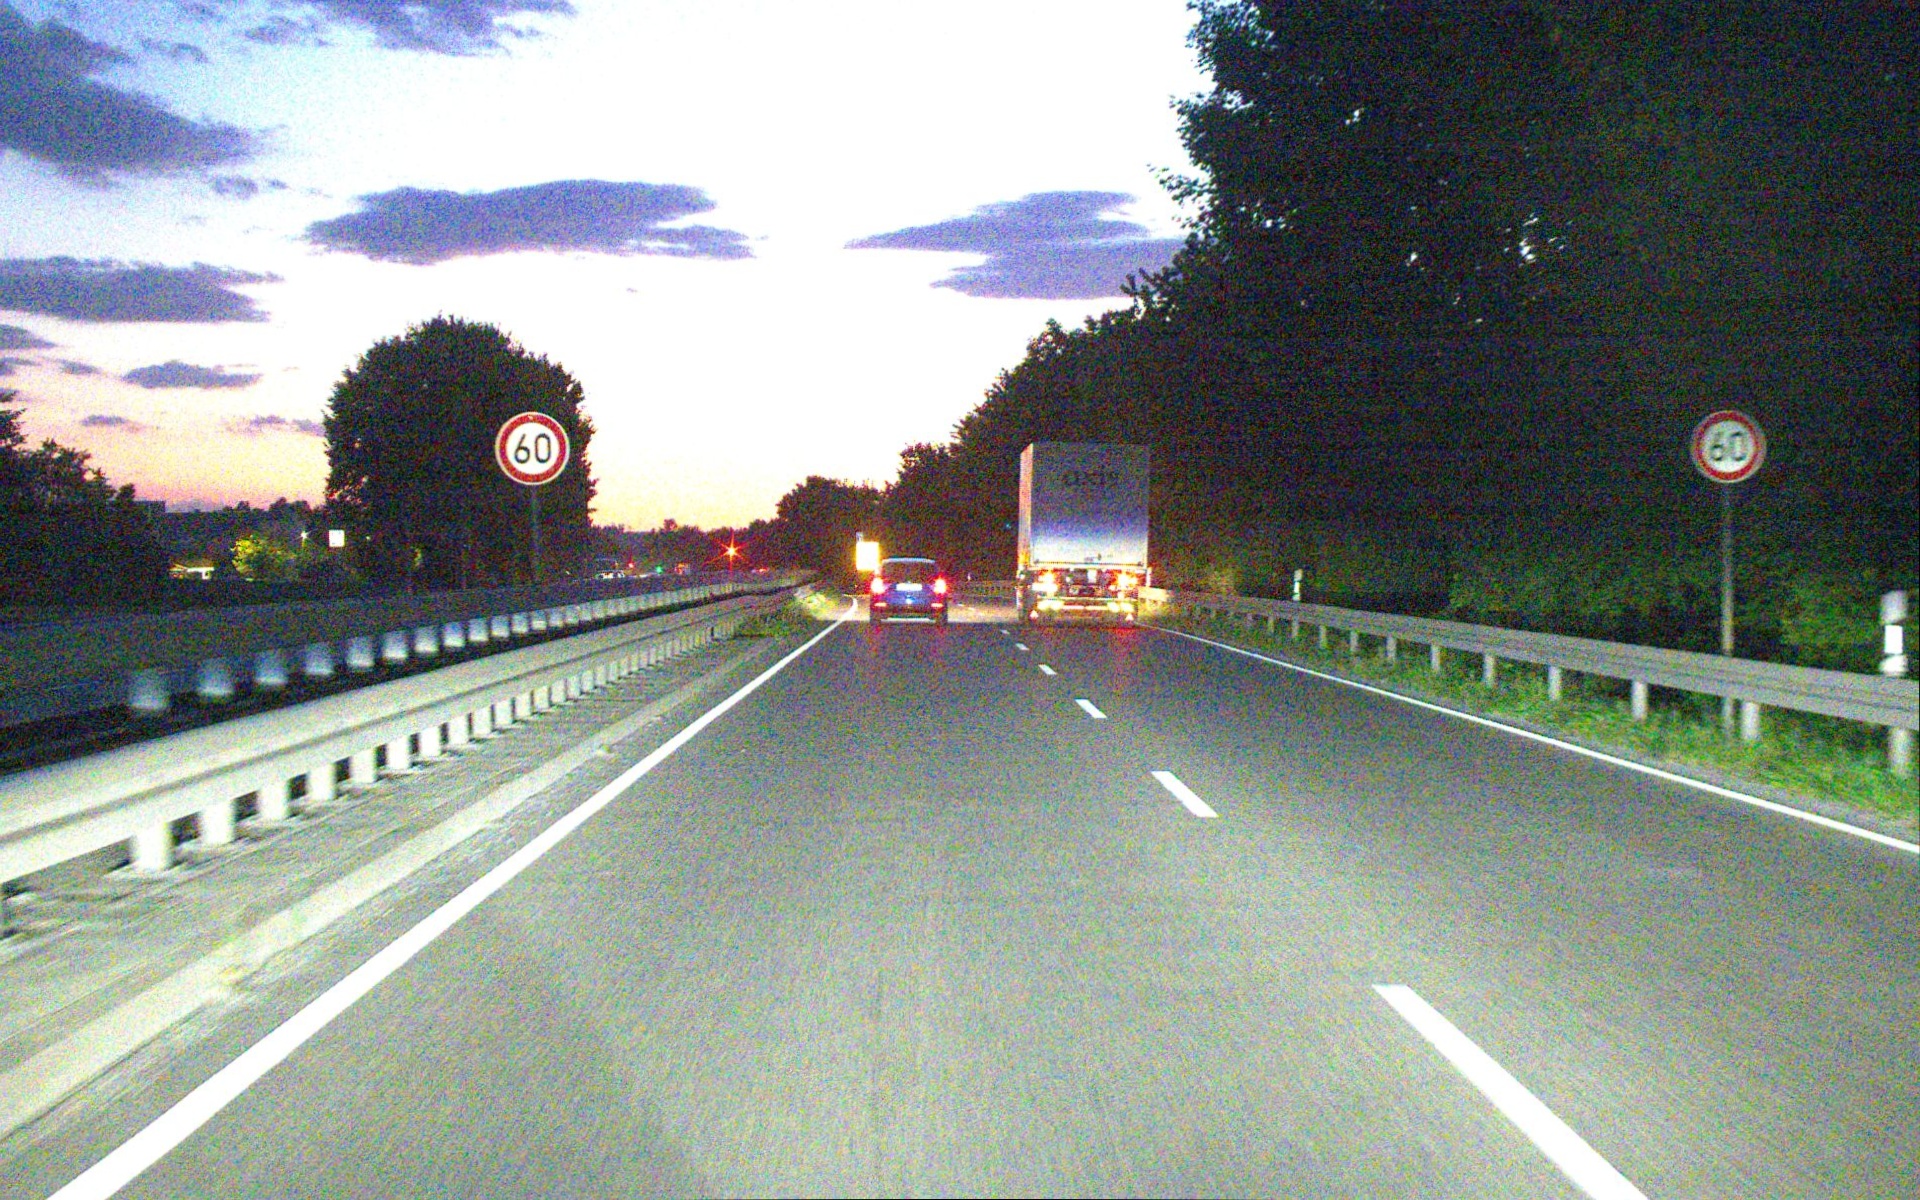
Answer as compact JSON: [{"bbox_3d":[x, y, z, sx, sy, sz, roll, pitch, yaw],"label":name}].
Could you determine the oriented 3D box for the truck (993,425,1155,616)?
[{"bbox_3d":[2.518,-1.821,80.339,2.883,4.092,12.685,1,1,-2],"label":"truck"}]

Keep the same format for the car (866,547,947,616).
[{"bbox_3d":[-1.198,-0.433,75.587,1.695,1.447,3.915,1,1,-2],"label":"car"}]
